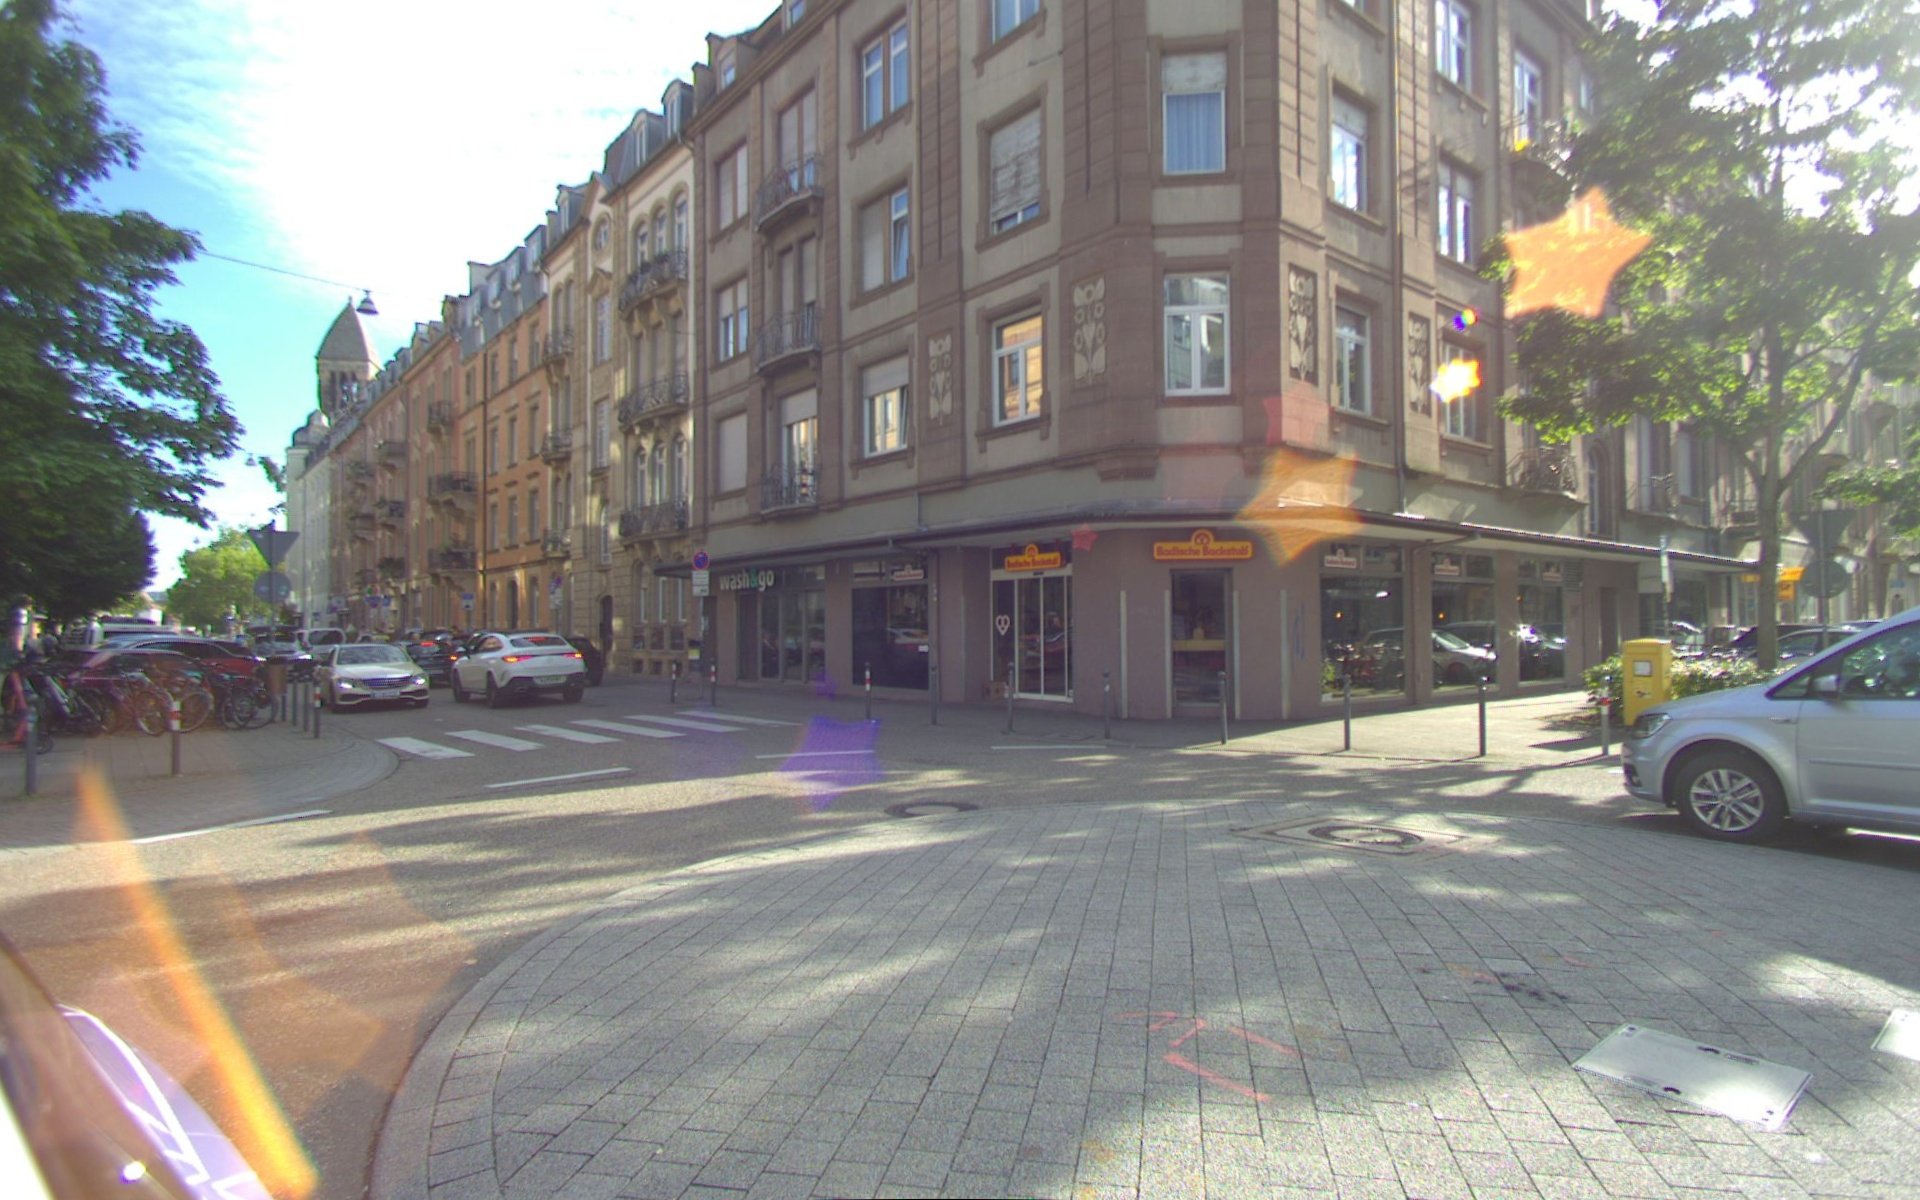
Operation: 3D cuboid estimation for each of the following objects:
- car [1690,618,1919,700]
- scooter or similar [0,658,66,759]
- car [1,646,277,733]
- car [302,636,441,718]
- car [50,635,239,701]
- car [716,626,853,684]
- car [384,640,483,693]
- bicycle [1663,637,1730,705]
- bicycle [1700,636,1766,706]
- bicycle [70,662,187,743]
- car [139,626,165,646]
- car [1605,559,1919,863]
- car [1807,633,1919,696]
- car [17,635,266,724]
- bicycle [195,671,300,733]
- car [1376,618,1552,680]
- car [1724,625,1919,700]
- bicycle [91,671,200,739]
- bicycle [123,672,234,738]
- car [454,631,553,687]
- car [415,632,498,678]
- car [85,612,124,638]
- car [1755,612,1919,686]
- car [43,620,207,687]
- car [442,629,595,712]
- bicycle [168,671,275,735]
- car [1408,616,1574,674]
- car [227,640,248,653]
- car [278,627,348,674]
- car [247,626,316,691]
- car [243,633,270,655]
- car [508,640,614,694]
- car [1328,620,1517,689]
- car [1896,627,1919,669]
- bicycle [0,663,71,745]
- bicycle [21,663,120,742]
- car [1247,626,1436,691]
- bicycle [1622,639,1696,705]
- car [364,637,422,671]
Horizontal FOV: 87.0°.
[{"bbox_3d":[17.328,1.154,20.555,1.551,1.488,3.707,-1,-1,-36],"label":"car"},{"bbox_3d":[-12.023,1.342,12.528,1.270,1.220,0.558,1,-4,-20],"label":"scooter or similar"},{"bbox_3d":[-14.710,1.574,18.364,1.505,1.391,3.557,-1,-4,25],"label":"car"},{"bbox_3d":[-13.622,1.701,23.262,1.915,1.609,4.843,-1,-2,-40],"label":"car"},{"bbox_3d":[-21.543,1.790,26.881,1.506,1.624,3.554,-1,-4,27],"label":"car"},{"bbox_3d":[-5.575,1.715,32.539,1.999,1.633,3.945,-3,-2,42],"label":"car"},{"bbox_3d":[-16.001,1.951,30.652,1.743,1.392,4.459,-2,0,-40],"label":"car"},{"bbox_3d":[13.334,1.257,18.293,2.394,1.143,0.479,1,-3,-42],"label":"bicycle"},{"bbox_3d":[13.690,1.217,17.891,2.394,1.143,0.479,1,-2,-42],"label":"bicycle"},{"bbox_3d":[-12.697,1.536,15.447,1.825,1.152,0.472,0,-3,20],"label":"bicycle"},{"bbox_3d":[-82.673,3.698,103.595,1.968,1.903,4.008,-1,-1,-37],"label":"car"},{"bbox_3d":[6.691,0.672,6.116,1.804,1.804,4.343,2,-3,-31],"label":"car"},{"bbox_3d":[22.676,1.539,24.295,1.354,1.454,3.345,3,-4,-38],"label":"car"},{"bbox_3d":[-16.345,1.573,20.409,1.506,1.628,3.554,-1,-4,27],"label":"car"},{"bbox_3d":[-12.302,1.746,17.461,1.851,0.993,0.469,0,-3,20],"label":"bicycle"},{"bbox_3d":[13.826,1.338,27.879,3.998,1.563,1.742,-3,-2,41],"label":"car"},{"bbox_3d":[19.315,1.313,21.956,1.552,1.488,4.082,-1,-1,-38],"label":"car"},{"bbox_3d":[-12.827,1.633,15.929,1.825,0.993,0.415,0,-3,20],"label":"bicycle"},{"bbox_3d":[-12.719,1.688,16.468,1.851,0.993,0.469,0,-3,20],"label":"bicycle"},{"bbox_3d":[-14.707,1.838,32.472,1.833,1.596,4.406,-1,-1,-39],"label":"car"},{"bbox_3d":[-18.346,1.976,36.776,1.735,1.508,4.139,-1,-2,-40],"label":"car"},{"bbox_3d":[-62.524,1.830,73.946,1.824,1.747,4.002,-1,-2,-45],"label":"car"},{"bbox_3d":[21.142,1.121,23.655,1.552,1.608,3.706,-1,-2,-38],"label":"car"},{"bbox_3d":[-32.980,2.062,40.177,1.983,2.441,4.711,-2,-1,18],"label":"car"},{"bbox_3d":[-10.129,1.535,23.007,1.968,1.647,4.852,0,-3,-39],"label":"car"},{"bbox_3d":[-12.442,1.719,17.046,1.851,0.993,0.469,0,-3,20],"label":"bicycle"},{"bbox_3d":[15.510,1.318,29.673,3.998,1.563,1.742,-3,-2,41],"label":"car"},{"bbox_3d":[-76.871,4.954,107.715,1.600,1.390,3.768,1,-2,-39],"label":"car"},{"bbox_3d":[-28.442,2.200,44.414,1.915,1.894,4.843,-1,-2,-40],"label":"car"},{"bbox_3d":[-23.284,1.952,34.657,1.764,2.079,4.009,1,-2,-37],"label":"car"},{"bbox_3d":[-63.422,3.952,91.219,1.700,1.947,4.019,1,-2,-39],"label":"car"},{"bbox_3d":[-11.325,1.845,28.593,1.697,1.379,3.836,-1,-1,-39],"label":"car"},{"bbox_3d":[11.640,1.363,25.604,3.998,1.563,1.742,-3,-2,41],"label":"car"},{"bbox_3d":[30.183,1.442,30.022,1.354,1.263,3.345,3,-4,-38],"label":"car"},{"bbox_3d":[-13.567,1.488,14.711,1.669,1.109,0.429,-1,-4,31],"label":"bicycle"},{"bbox_3d":[-13.370,1.516,15.197,1.666,1.109,0.471,-1,-4,26],"label":"bicycle"},{"bbox_3d":[9.362,1.422,24.991,3.998,1.441,1.742,-3,-2,41],"label":"car"},{"bbox_3d":[12.948,1.299,18.720,2.394,1.143,0.580,1,-3,-42],"label":"bicycle"},{"bbox_3d":[-25.137,2.376,44.813,1.600,1.389,3.768,-1,-2,-39],"label":"car"}]
